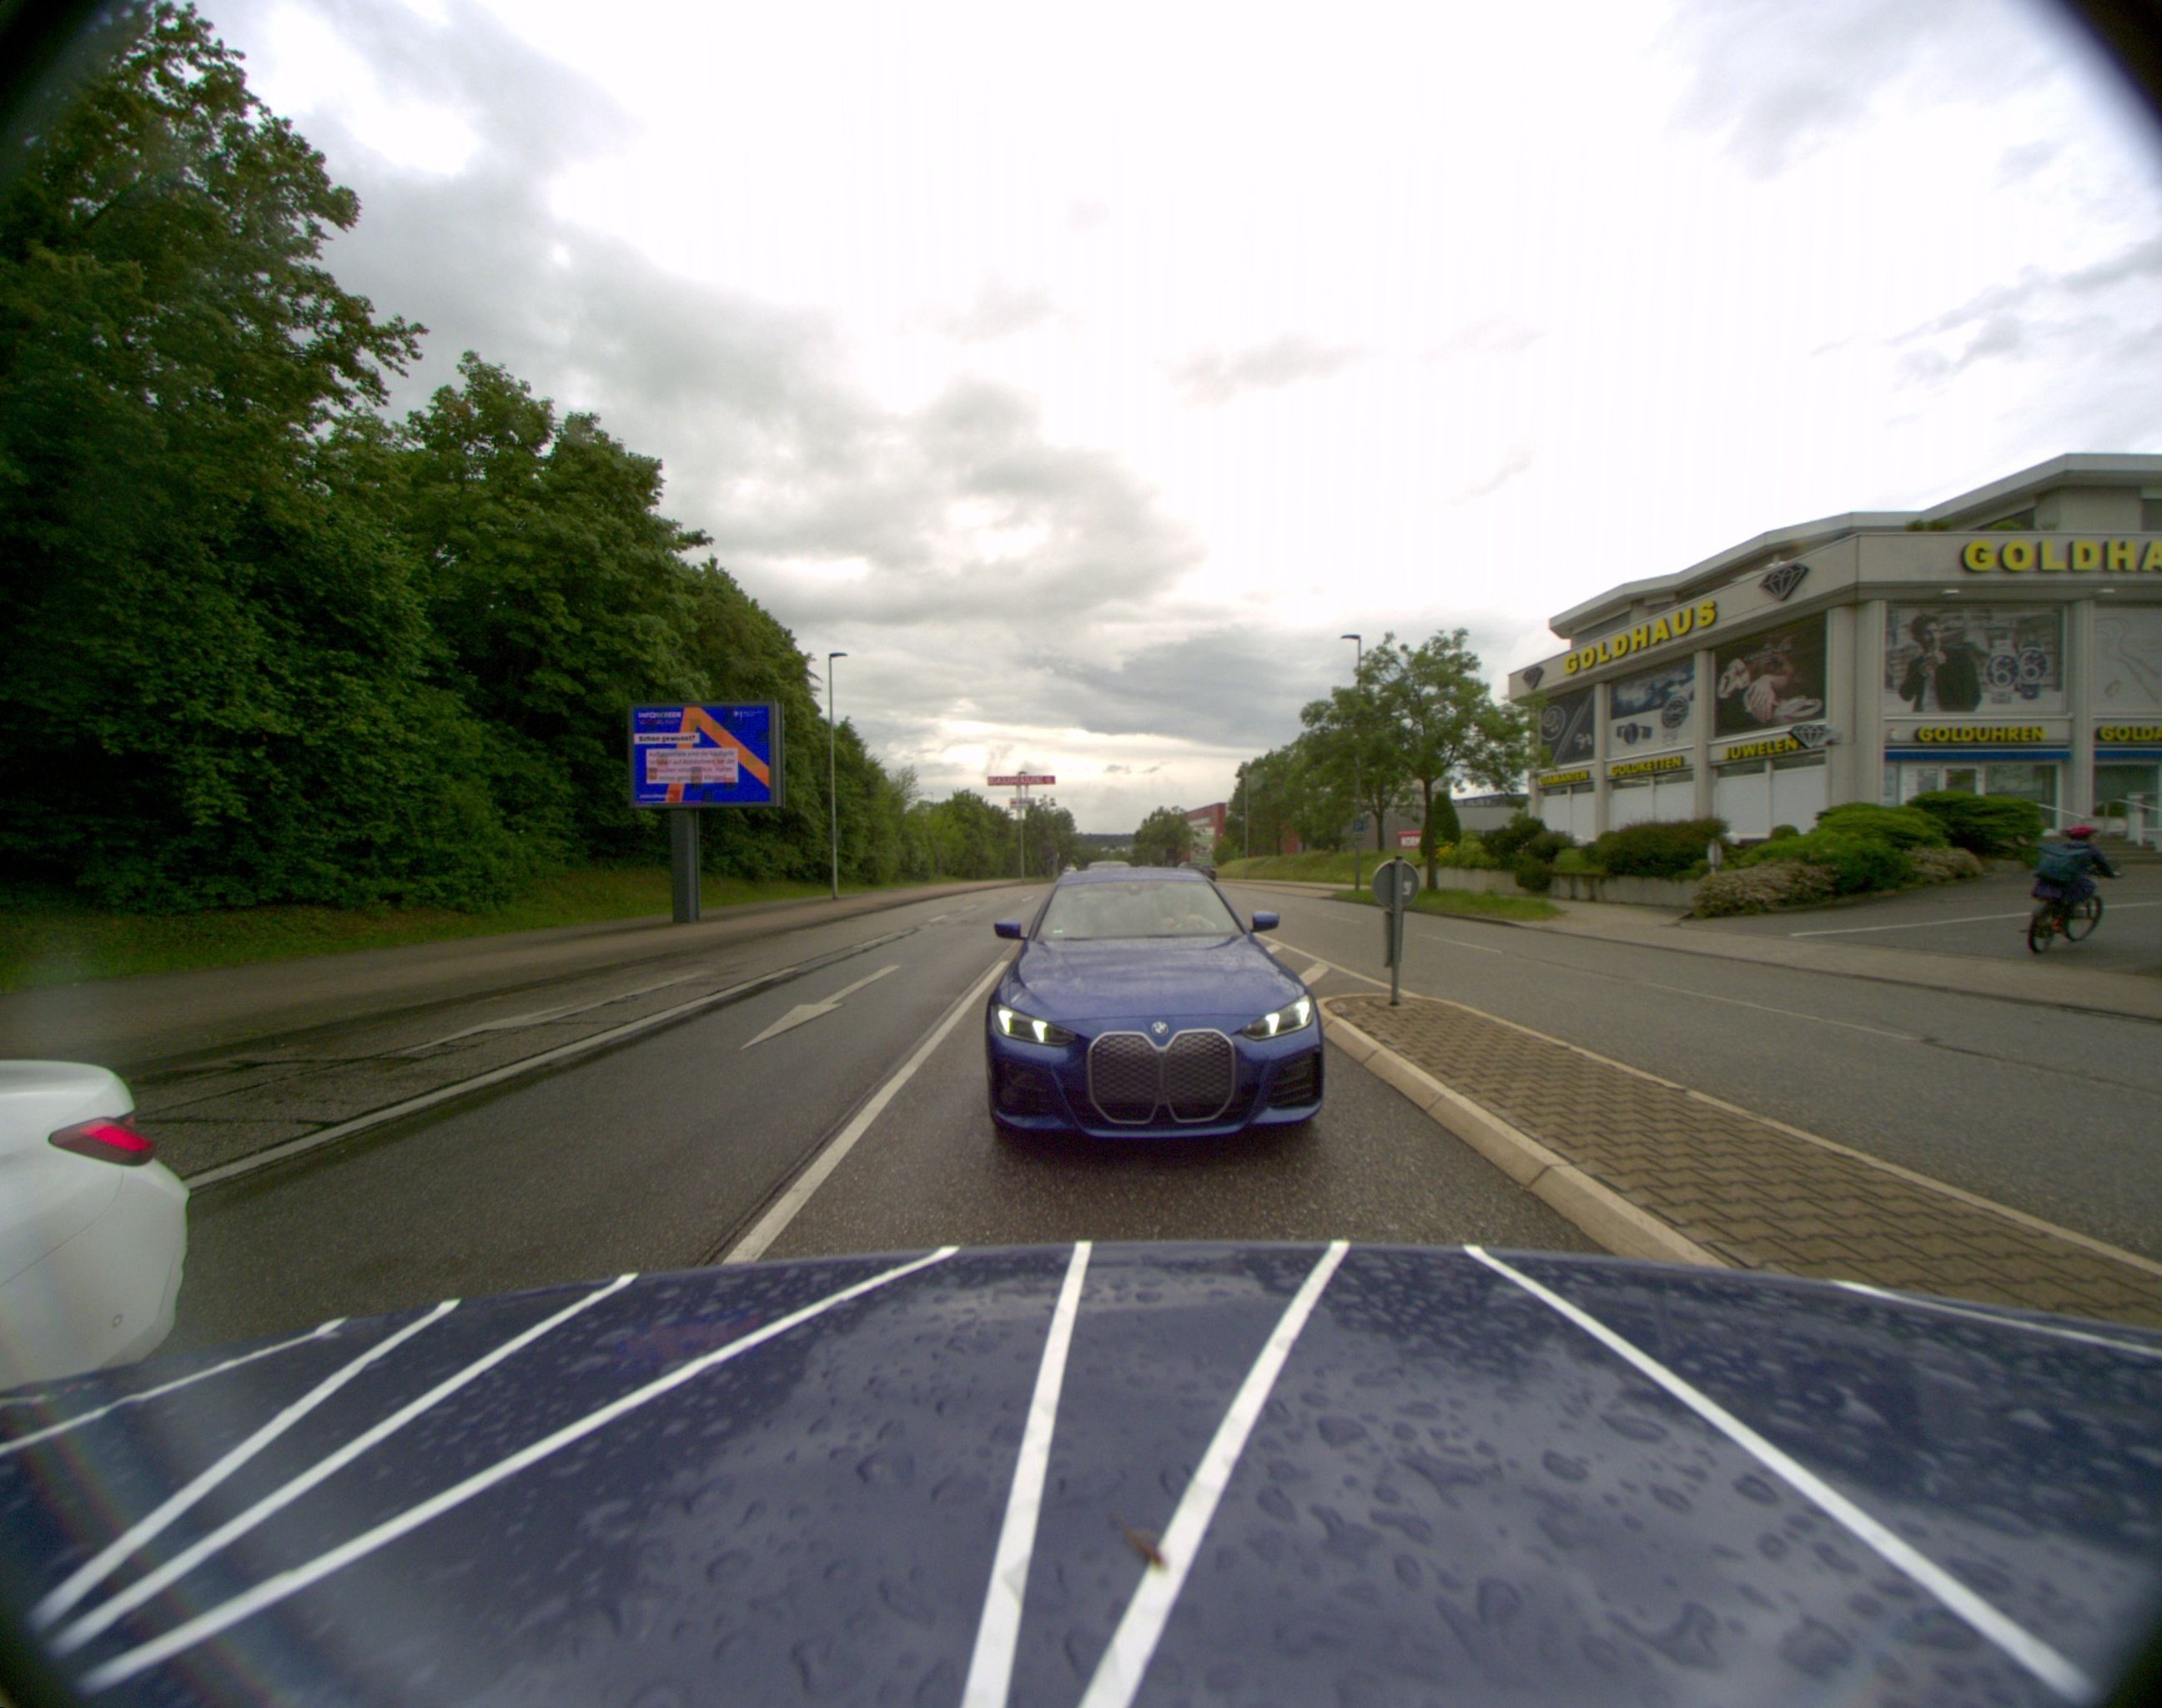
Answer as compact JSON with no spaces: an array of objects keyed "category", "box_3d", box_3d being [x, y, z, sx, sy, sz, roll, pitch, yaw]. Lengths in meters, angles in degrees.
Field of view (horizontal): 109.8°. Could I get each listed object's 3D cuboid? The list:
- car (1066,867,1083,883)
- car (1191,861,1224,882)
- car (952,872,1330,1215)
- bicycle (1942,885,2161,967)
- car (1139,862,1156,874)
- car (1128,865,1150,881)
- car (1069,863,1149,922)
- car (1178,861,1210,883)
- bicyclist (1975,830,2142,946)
[{"category":"car","box_3d":[-0.803,2.533,92.392,1.998,1.717,4.317,-1,0,1]},{"category":"car","box_3d":[11.544,1.628,69.776,2.350,1.879,4.546,0,-2,1]},{"category":"car","box_3d":[0.266,0.969,5.960,1.784,1.448,4.596,-2,1,-1]},{"category":"bicycle","box_3d":[13.618,0.971,10.542,2.292,0.810,0.910,-6,0,-1]},{"category":"car","box_3d":[9.068,1.959,104.431,1.998,1.586,4.001,0,-2,1]},{"category":"car","box_3d":[5.762,1.926,75.791,1.998,1.586,4.001,0,-2,1]},{"category":"car","box_3d":[0.777,1.007,21.613,1.998,1.455,4.368,-2,0,2]},{"category":"car","box_3d":[8.473,1.371,57.367,1.998,1.586,4.002,0,-2,3]},{"category":"bicyclist","box_3d":[13.507,0.458,10.537,1.027,1.434,0.910,-6,0,-1]}]
